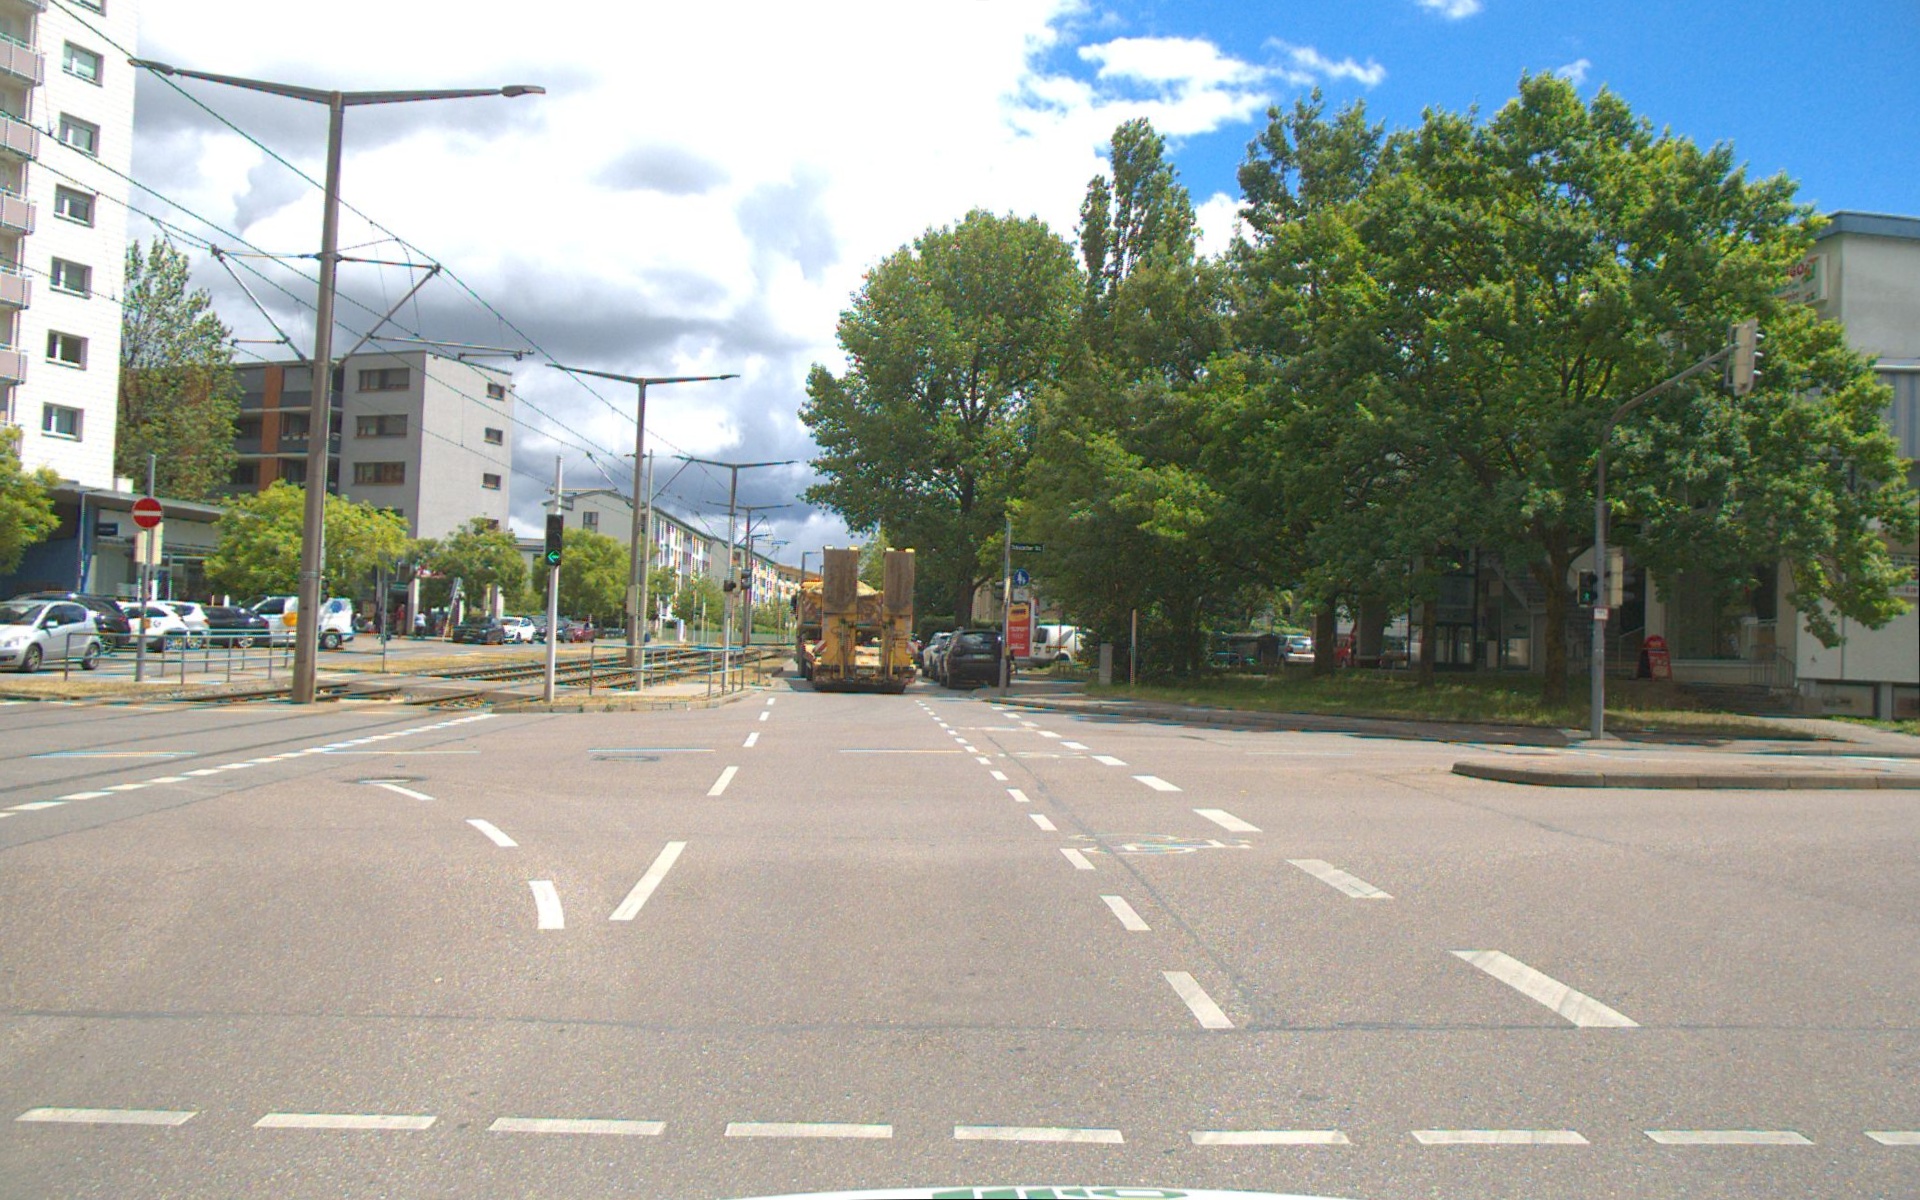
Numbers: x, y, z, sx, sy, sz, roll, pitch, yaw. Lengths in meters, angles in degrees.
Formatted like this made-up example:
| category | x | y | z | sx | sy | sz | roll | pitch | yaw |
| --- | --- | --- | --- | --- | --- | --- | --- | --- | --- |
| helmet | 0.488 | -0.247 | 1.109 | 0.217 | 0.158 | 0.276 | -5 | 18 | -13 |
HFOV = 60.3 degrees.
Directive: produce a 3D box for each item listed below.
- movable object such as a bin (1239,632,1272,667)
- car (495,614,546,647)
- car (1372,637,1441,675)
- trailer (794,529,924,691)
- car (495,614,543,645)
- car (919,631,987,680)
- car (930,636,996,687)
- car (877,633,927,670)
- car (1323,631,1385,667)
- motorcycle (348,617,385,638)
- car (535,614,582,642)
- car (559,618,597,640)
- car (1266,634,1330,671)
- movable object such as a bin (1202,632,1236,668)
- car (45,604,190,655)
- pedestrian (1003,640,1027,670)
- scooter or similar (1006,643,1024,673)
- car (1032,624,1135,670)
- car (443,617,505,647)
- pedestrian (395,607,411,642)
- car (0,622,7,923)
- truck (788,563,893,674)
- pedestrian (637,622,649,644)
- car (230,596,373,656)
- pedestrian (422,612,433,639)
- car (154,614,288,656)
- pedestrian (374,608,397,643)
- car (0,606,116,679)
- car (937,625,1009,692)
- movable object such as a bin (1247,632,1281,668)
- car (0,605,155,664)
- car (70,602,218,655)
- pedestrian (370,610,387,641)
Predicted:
| category | x | y | z | sx | sy | sz | roll | pitch | yaw |
| --- | --- | --- | --- | --- | --- | --- | --- | --- | --- |
| movable object such as a bin | 12.694 | 2.121 | 71.152 | 1.093 | 1.455 | 1.284 | 1 | -1 | -6 |
| car | -24.229 | 1.675 | 91.276 | 1.955 | 1.692 | 4.095 | 3 | -1 | -5 |
| car | 19.501 | 2.429 | 72.374 | 1.709 | 1.496 | 3.997 | 1 | -1 | -4 |
| trailer | -3.003 | 0.307 | 45.549 | 2.992 | 3.839 | 11.596 | 1 | -1 | -6 |
| car | -25.579 | 1.689 | 96.115 | 1.955 | 1.692 | 4.095 | 3 | -1 | -5 |
| car | -0.294 | 1.882 | 57.084 | 1.750 | 1.592 | 4.561 | 1 | -1 | -8 |
| car | 0.064 | 1.922 | 52.401 | 1.612 | 1.483 | 4.069 | 1 | -1 | -7 |
| car | -2.485 | 2.170 | 70.260 | 1.780 | 1.474 | 3.820 | 1 | -1 | -7 |
| car | 17.352 | 2.134 | 73.060 | 1.708 | 1.468 | 3.999 | 1 | -1 | -1 |
| motorcycle | -34.630 | 1.581 | 96.493 | 1.855 | 1.199 | 0.740 | 1 | -1 | -6 |
| car | -25.616 | 1.784 | 105.579 | 1.953 | 1.677 | 4.099 | 1 | -1 | 0 |
| car | -25.857 | 1.947 | 112.100 | 1.579 | 1.451 | 3.424 | 1 | -1 | 3 |
| car | 14.779 | 2.273 | 72.457 | 1.901 | 1.517 | 3.999 | 1 | -1 | -1 |
| movable object such as a bin | 10.778 | 2.067 | 68.956 | 1.093 | 1.455 | 1.284 | 1 | -1 | -6 |
| car | -26.346 | 0.930 | 51.788 | 3.735 | 1.523 | 1.720 | 2 | -1 | -43 |
| pedestrian | 2.037 | 2.037 | 61.384 | 0.761 | 1.073 | 0.546 | 1 | -1 | -10 |
| scooter or similar | 2.044 | 2.147 | 61.394 | 0.468 | 1.073 | 0.895 | 1 | -1 | -9 |
| car | 5.140 | 1.962 | 68.666 | 3.939 | 1.855 | 1.795 | 1 | -1 | -27 |
| car | -25.338 | 1.667 | 86.370 | 1.717 | 1.501 | 4.401 | 1 | -1 | 2 |
| pedestrian | -29.472 | 1.297 | 87.543 | 0.599 | 1.824 | 0.843 | 1 | -1 | -4 |
| car | -2.630 | 0.707 | 0.501 | 1.931 | 1.423 | 4.674 | 1 | -1 | 0 |
| truck | -4.088 | 0.620 | 54.875 | 2.781 | 3.389 | 7.967 | 1 | -1 | -9 |
| pedestrian | -25.601 | 2.664 | 133.495 | 0.734 | 1.691 | 0.869 | 1 | -1 | 1 |
| car | -25.189 | 0.998 | 63.384 | 4.726 | 2.194 | 1.875 | 2 | -1 | -45 |
| pedestrian | -30.383 | 1.452 | 94.349 | 0.492 | 1.486 | 0.555 | 1 | -1 | -30 |
| car | -26.252 | 1.251 | 58.815 | 3.970 | 1.408 | 1.875 | 2 | -1 | -45 |
| pedestrian | -28.250 | 1.247 | 81.346 | 0.823 | 1.678 | 0.613 | 2 | -1 | 0 |
| car | -21.037 | 0.934 | 37.494 | 1.781 | 1.559 | 3.755 | 1 | -1 | 1 |
| car | 0.335 | 1.643 | 47.868 | 1.612 | 1.793 | 4.564 | 1 | -1 | -6 |
| movable object such as a bin | 12.839 | 2.113 | 69.802 | 1.093 | 1.455 | 1.284 | 1 | -1 | -6 |
| car | -25.496 | 0.972 | 47.371 | 1.897 | 1.619 | 3.978 | 0 | -1 | 40 |
| car | -26.902 | 0.948 | 54.637 | 1.872 | 1.660 | 3.977 | 0 | -1 | 41 |
| pedestrian | -29.978 | 1.306 | 85.242 | 0.656 | 1.601 | 0.681 | 1 | -1 | -31 |
